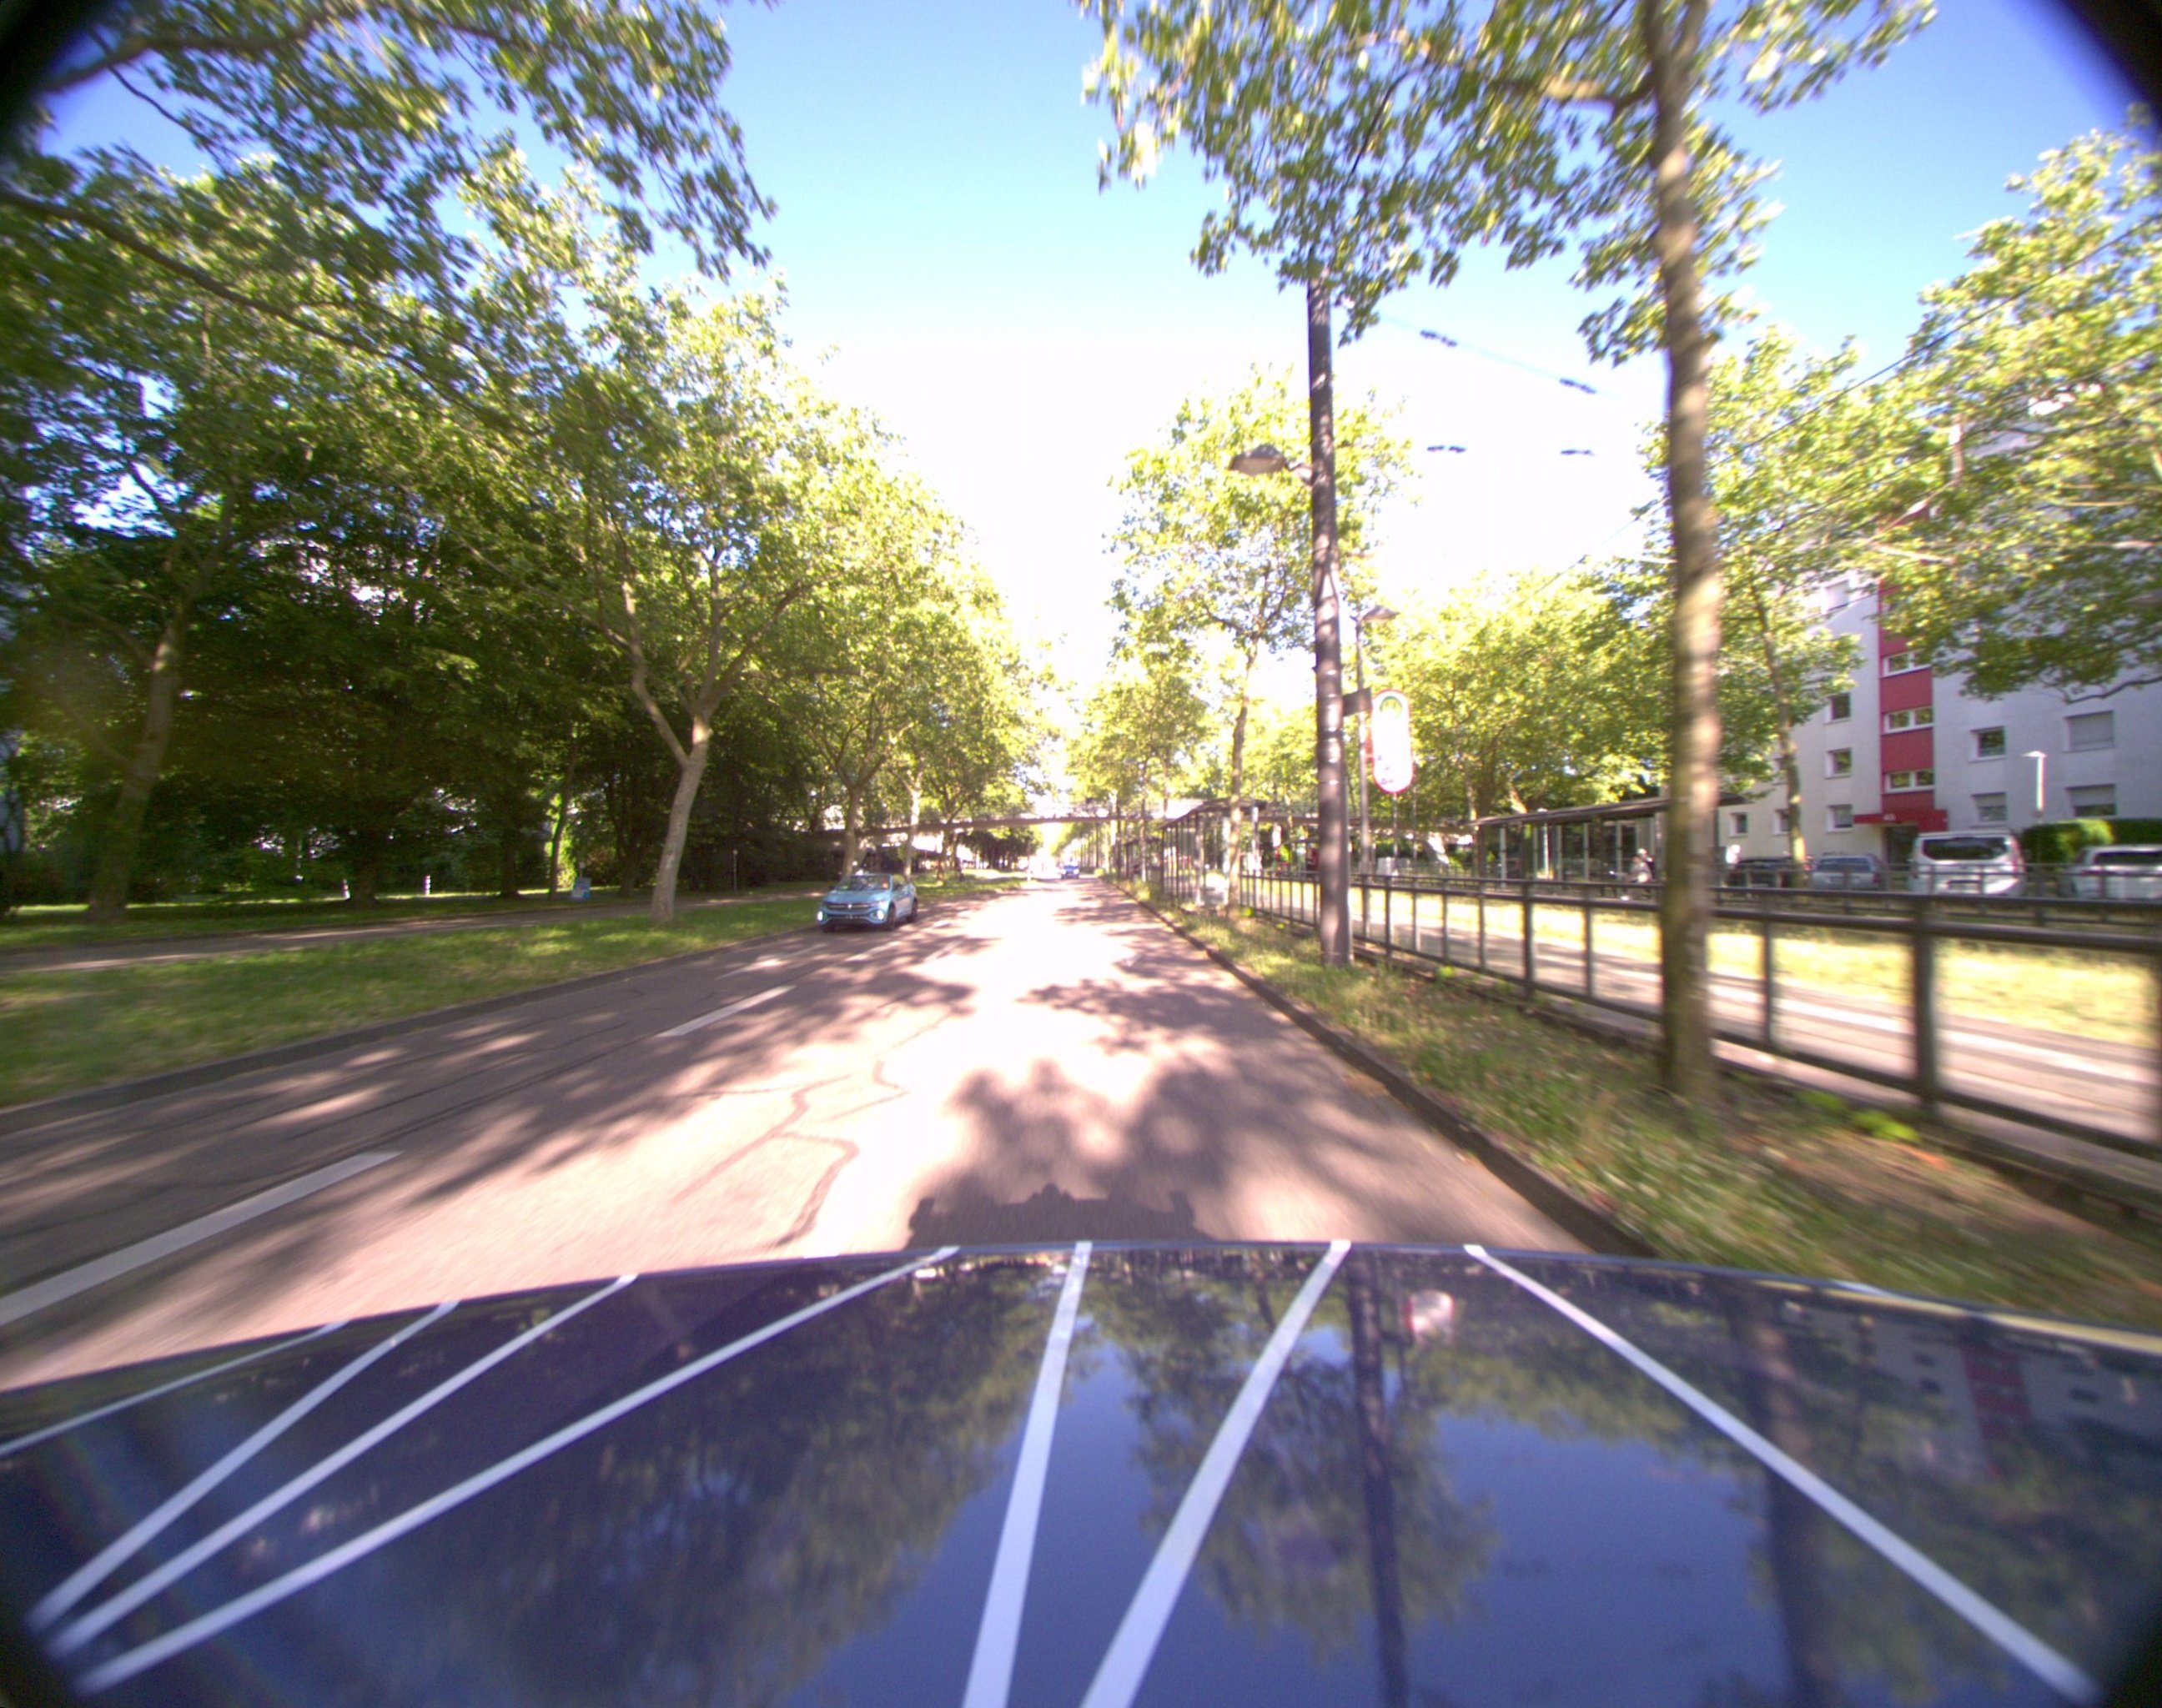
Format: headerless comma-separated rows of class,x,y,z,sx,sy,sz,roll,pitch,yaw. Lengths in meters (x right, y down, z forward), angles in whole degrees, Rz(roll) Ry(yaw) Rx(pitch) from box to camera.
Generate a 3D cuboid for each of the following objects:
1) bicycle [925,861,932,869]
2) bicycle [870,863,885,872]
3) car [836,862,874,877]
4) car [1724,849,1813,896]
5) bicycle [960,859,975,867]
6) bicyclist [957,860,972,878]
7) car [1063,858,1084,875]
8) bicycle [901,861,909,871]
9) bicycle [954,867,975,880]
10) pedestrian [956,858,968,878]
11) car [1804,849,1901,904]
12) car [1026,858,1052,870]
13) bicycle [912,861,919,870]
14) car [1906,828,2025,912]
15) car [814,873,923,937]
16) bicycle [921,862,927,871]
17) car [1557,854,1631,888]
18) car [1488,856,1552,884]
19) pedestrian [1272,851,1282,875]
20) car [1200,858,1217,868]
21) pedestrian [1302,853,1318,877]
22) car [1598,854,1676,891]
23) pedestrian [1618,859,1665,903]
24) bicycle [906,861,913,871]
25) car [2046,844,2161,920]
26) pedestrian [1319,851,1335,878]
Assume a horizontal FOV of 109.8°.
bicycle,-22.821,1.646,113.745,0.577,1.246,1.806,-2,0,-2
bicycle,-26.596,1.730,99.235,1.806,1.109,0.710,0,2,-8
car,-25.201,1.756,84.893,3.739,1.486,1.710,-2,-2,-3
car,25.223,0.665,27.830,4.509,1.488,1.895,-2,-1,-42
bicycle,-16.552,1.376,110.775,2.074,1.151,0.561,0,0,-11
bicyclist,-10.686,1.380,69.733,0.954,1.622,0.817,2,-1,36
car,-0.760,1.310,79.317,1.898,1.623,4.502,-2,-1,1
bicycle,-23.381,1.631,101.058,0.577,1.246,1.806,-2,0,-2
bicycle,-10.679,1.795,69.714,1.831,1.140,0.817,1,-1,36
pedestrian,-10.596,1.277,67.792,0.658,1.766,0.741,-2,-2,37
car,24.667,0.688,24.242,4.509,1.488,1.895,-2,-1,-42
car,-6.637,1.637,121.265,1.763,1.832,3.960,1,0,44
bicycle,-24.330,1.629,111.621,0.577,1.246,1.806,-2,0,-2
car,24.338,0.389,20.866,4.508,2.050,1.895,-2,-1,-39
car,-5.623,1.300,20.641,1.780,1.474,4.100,-2,-1,0
bicycle,-22.463,1.750,108.842,0.577,1.246,1.806,-2,0,-2
car,24.741,0.803,36.589,4.208,1.419,1.696,-2,-1,-39
car,25.094,0.891,43.345,4.208,1.419,1.696,-2,-1,-39
pedestrian,14.519,0.681,56.282,0.504,1.760,0.483,-3,1,-41
car,21.492,1.494,127.981,1.902,1.480,4.626,-4,0,-1
pedestrian,14.167,0.687,47.026,0.644,1.505,0.683,0,0,-13
car,24.780,0.803,33.799,4.208,1.419,1.696,-2,-1,-39
pedestrian,14.795,0.713,20.070,0.696,1.120,0.662,2,1,1
bicycle,-23.672,1.639,105.047,0.577,1.246,1.806,-2,0,-2
car,24.665,0.608,18.072,4.068,1.601,1.685,-1,-1,-44
pedestrian,15.087,0.621,46.561,0.731,1.625,0.715,0,0,-2
